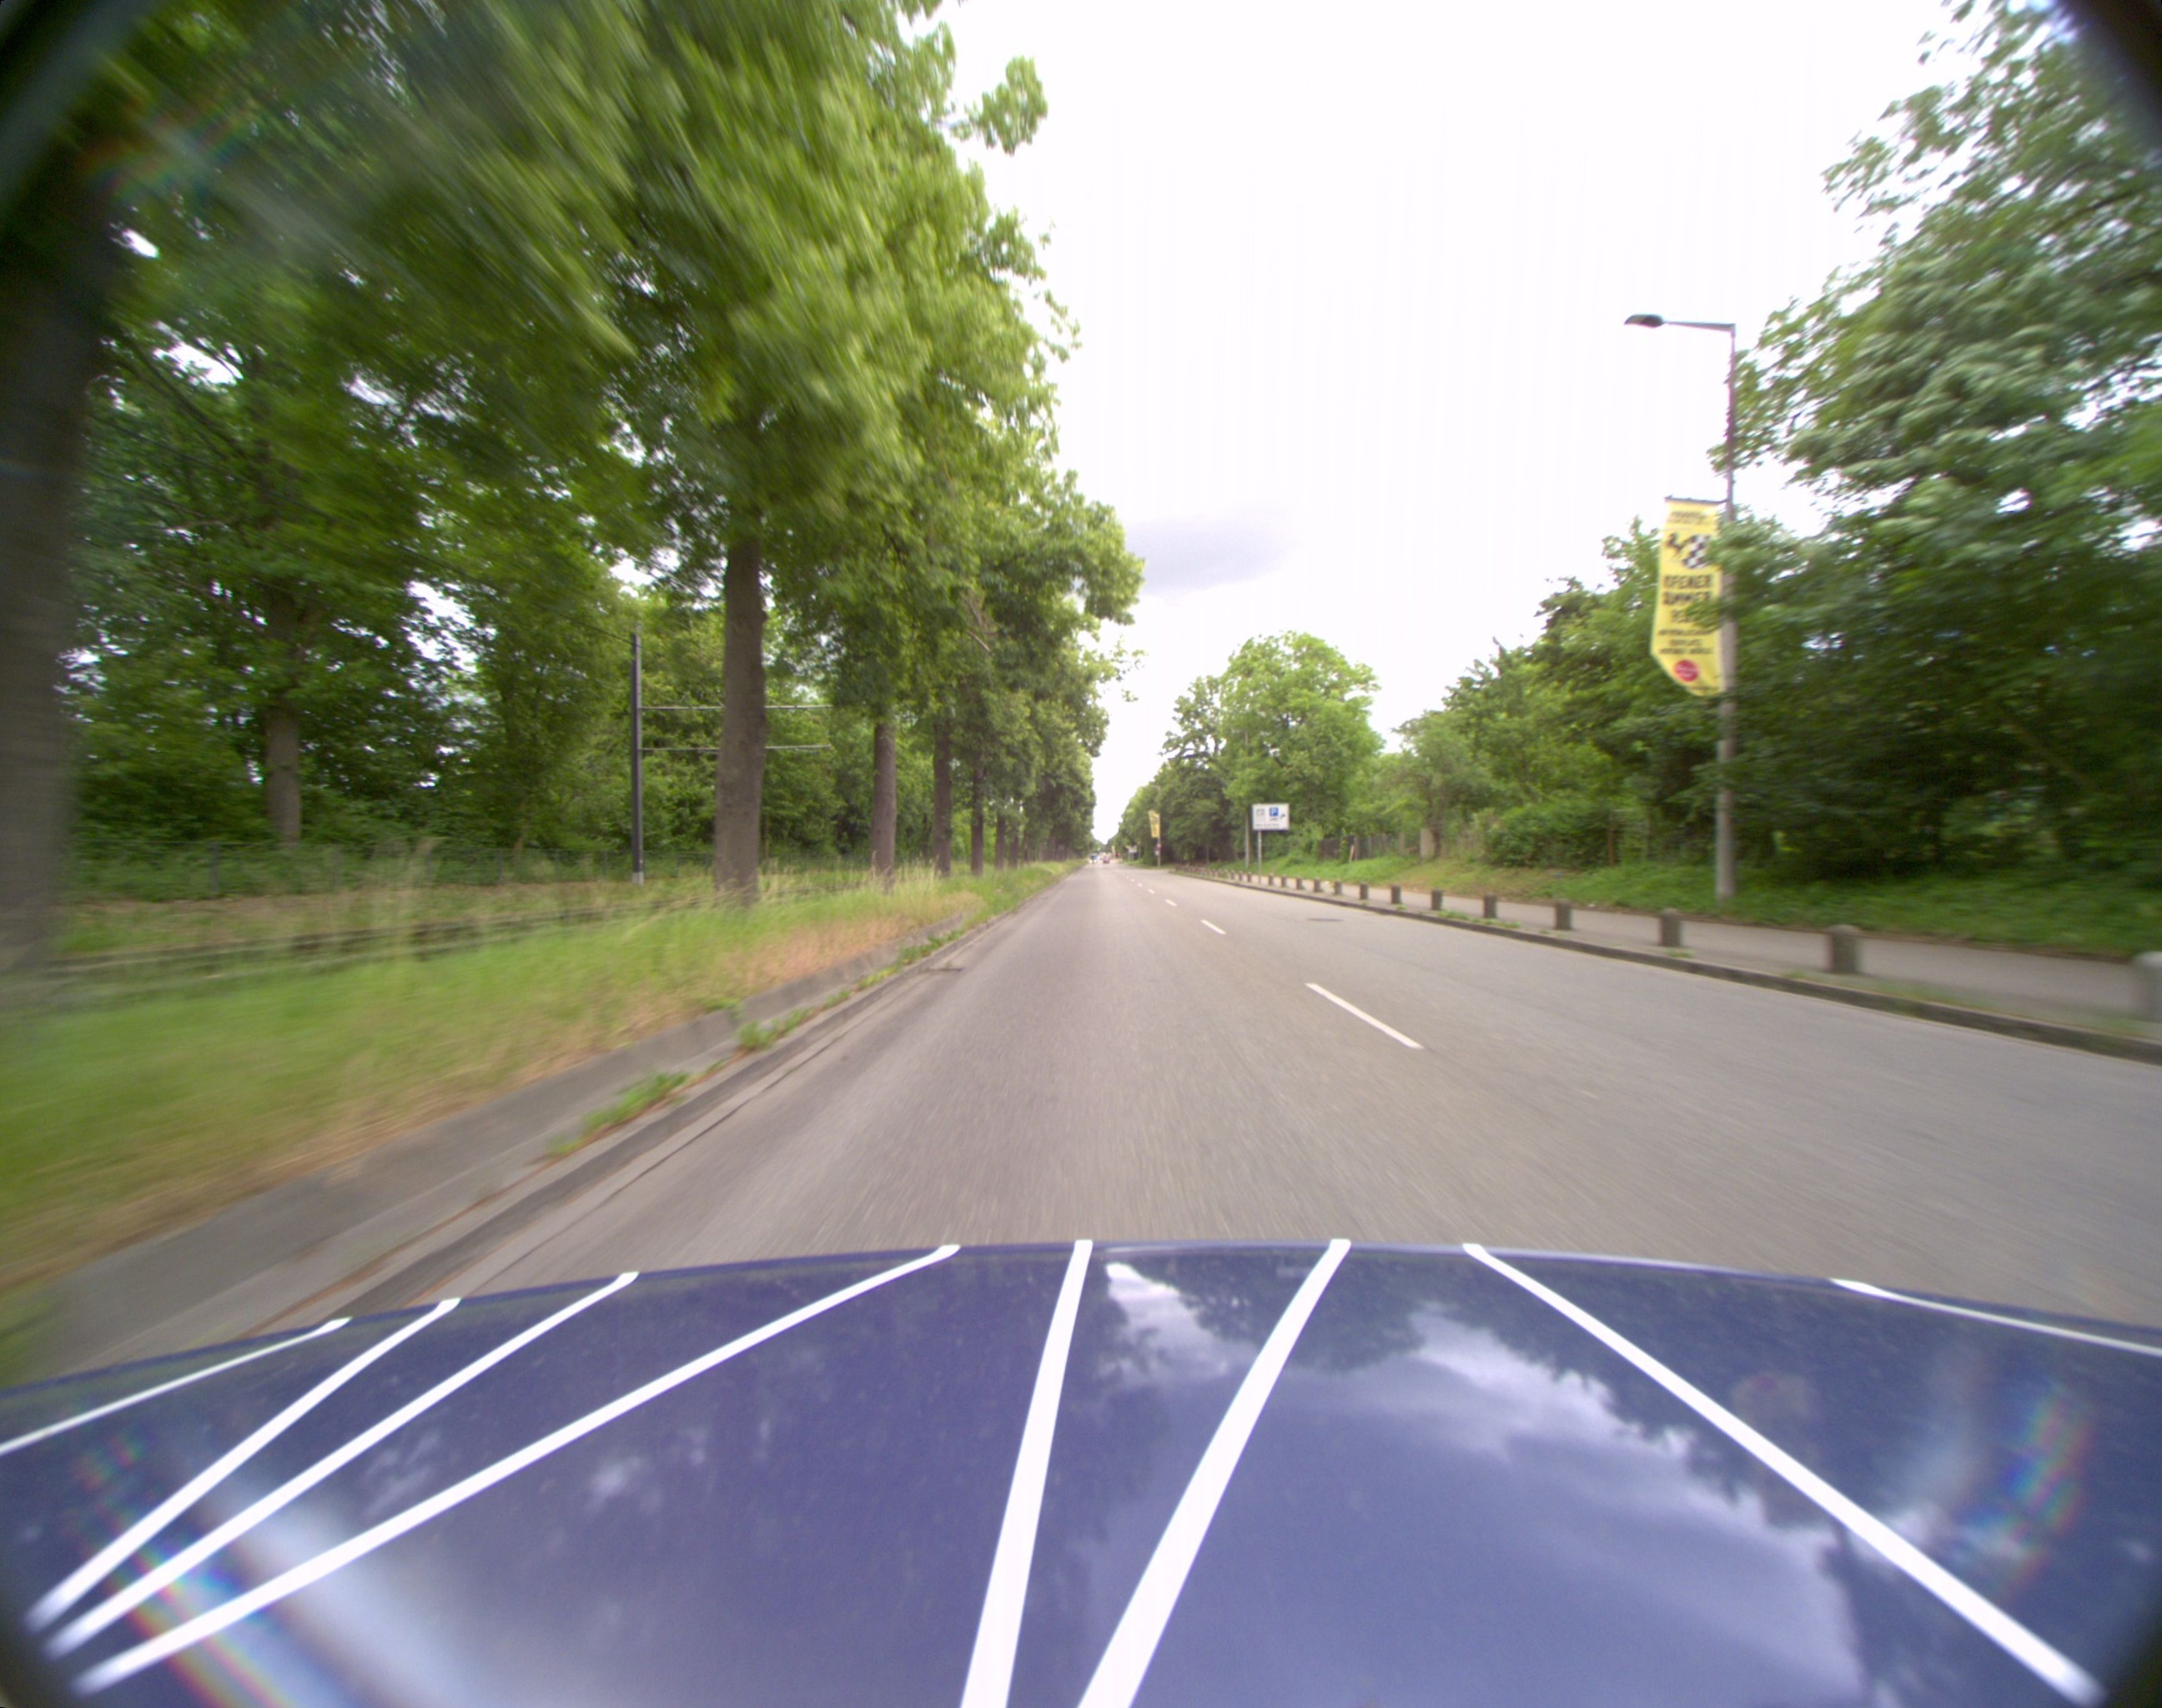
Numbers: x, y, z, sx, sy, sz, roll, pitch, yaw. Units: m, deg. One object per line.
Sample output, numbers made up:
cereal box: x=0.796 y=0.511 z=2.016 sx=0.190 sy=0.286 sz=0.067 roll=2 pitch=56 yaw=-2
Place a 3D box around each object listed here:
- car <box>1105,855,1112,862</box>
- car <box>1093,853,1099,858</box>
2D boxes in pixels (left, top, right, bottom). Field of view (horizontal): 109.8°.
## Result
car: x=7.631 y=1.258 z=213.436 sx=1.762 sy=1.601 sz=4.000 roll=-2 pitch=1 yaw=1
car: x=4.898 y=0.556 z=247.455 sx=1.762 sy=1.601 sz=4.000 roll=-2 pitch=1 yaw=1
